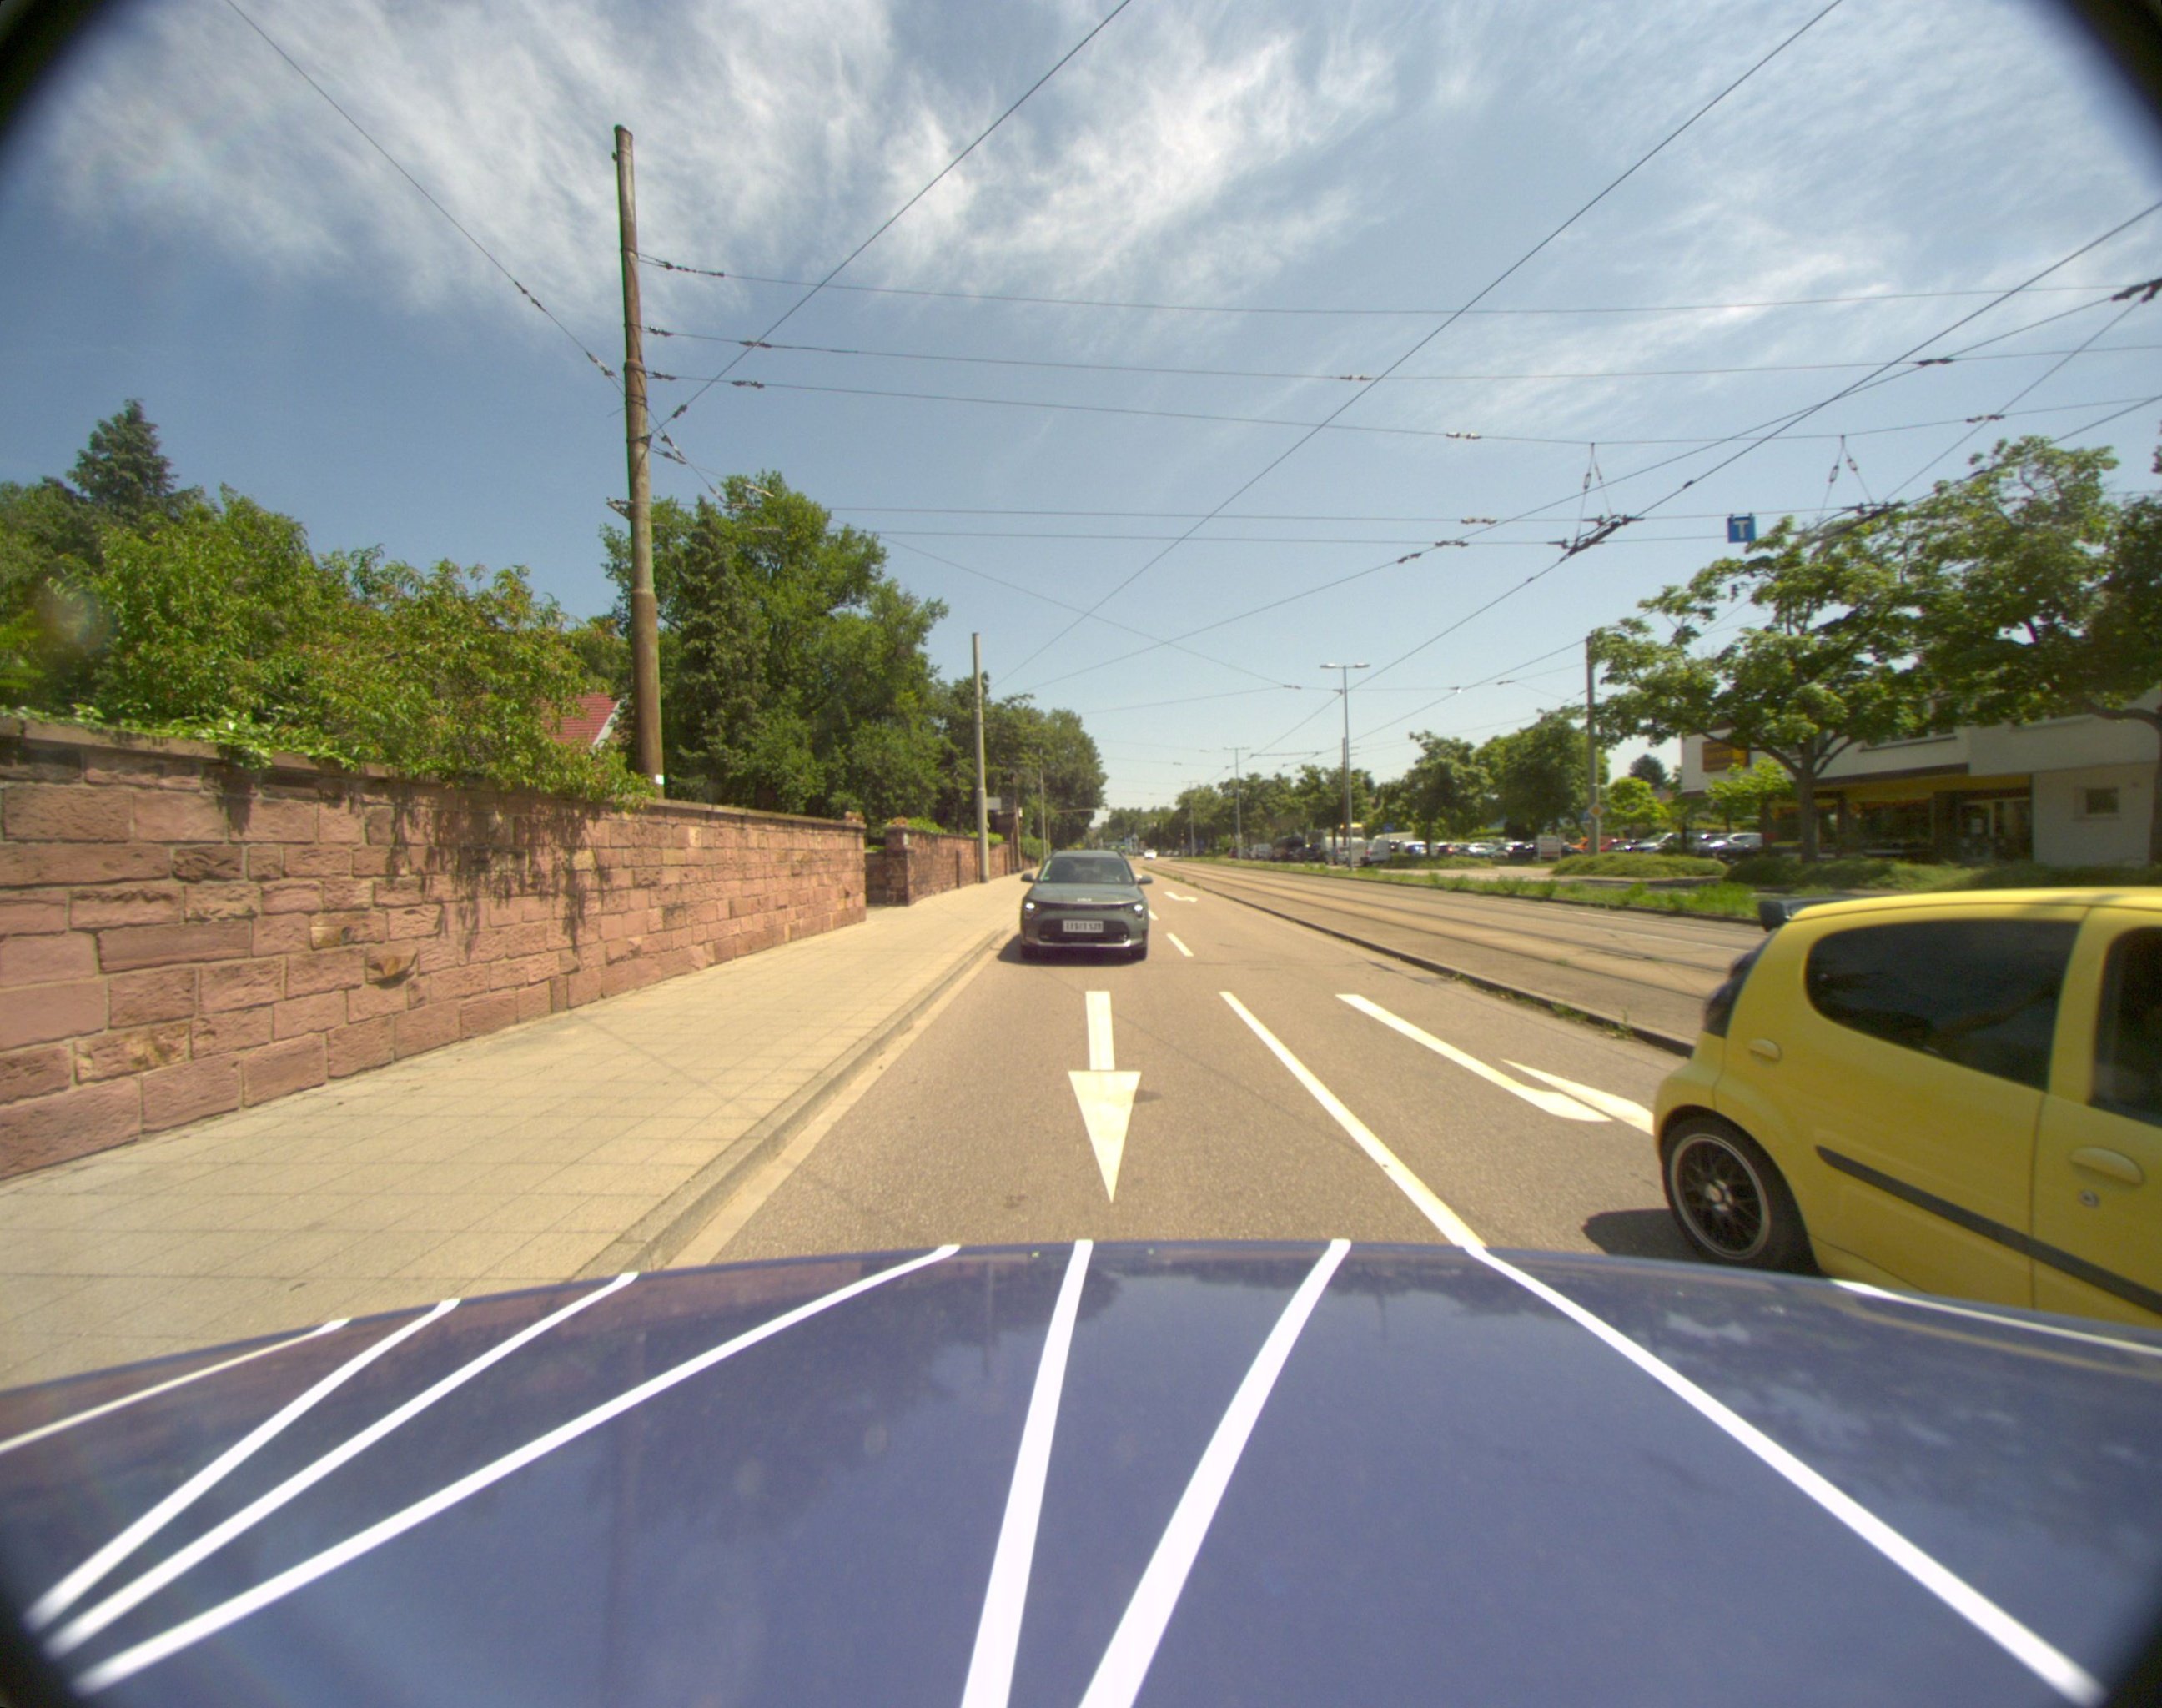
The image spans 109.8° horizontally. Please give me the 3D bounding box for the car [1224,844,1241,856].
[{"bbox_3d":[21.740,-0.529,108.861,1.681,1.693,3.823,-1,1,0],"label":"car"}]

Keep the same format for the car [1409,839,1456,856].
[{"bbox_3d":[31.244,-0.585,67.628,3.414,1.386,1.602,-1,1,-4],"label":"car"}]

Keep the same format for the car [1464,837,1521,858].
[{"bbox_3d":[31.037,-0.461,57.318,3.414,1.482,1.598,-1,1,-4],"label":"car"}]

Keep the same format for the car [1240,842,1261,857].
[{"bbox_3d":[21.724,-0.589,97.529,1.681,1.783,4.202,-1,1,0],"label":"car"}]

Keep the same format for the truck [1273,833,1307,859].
[{"bbox_3d":[21.333,-0.846,77.901,2.225,2.526,4.929,-1,1,2],"label":"truck"}]

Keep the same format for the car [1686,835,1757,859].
[{"bbox_3d":[43.324,-0.478,51.438,3.492,1.528,1.624,-1,1,-2],"label":"car"}]

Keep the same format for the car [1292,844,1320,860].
[{"bbox_3d":[21.218,-0.196,71.760,1.674,1.378,3.670,-1,1,3],"label":"car"}]

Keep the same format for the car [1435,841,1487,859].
[{"bbox_3d":[31.009,-0.351,62.004,3.414,1.386,1.602,-1,1,-4],"label":"car"}]

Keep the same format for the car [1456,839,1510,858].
[{"bbox_3d":[31.543,-0.464,59.734,3.414,1.386,1.602,-1,1,-4],"label":"car"}]

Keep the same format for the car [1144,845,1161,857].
[{"bbox_3d":[11.233,-0.483,118.497,1.996,1.652,4.004,-1,1,14],"label":"car"}]

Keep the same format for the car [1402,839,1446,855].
[{"bbox_3d":[31.809,-0.630,70.515,3.414,1.386,1.602,-1,1,-4],"label":"car"}]

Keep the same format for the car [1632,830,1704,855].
[{"bbox_3d":[43.812,-0.845,56.734,3.998,1.774,1.813,-1,1,-2],"label":"car"}]

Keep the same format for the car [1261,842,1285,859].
[{"bbox_3d":[21.806,-0.398,86.392,1.681,1.783,3.868,-1,1,0],"label":"car"}]

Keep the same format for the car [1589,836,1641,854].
[{"bbox_3d":[45.295,-0.755,64.497,3.355,1.450,1.506,-1,1,-2],"label":"car"}]

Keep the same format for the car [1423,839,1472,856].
[{"bbox_3d":[31.467,-0.548,65.218,3.414,1.386,1.602,-1,1,-4],"label":"car"}]

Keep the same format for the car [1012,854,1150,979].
[{"bbox_3d":[0.055,0.816,11.996,1.789,1.561,4.184,0,1,1],"label":"car"}]

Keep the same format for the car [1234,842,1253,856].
[{"bbox_3d":[21.818,-0.630,102.102,1.681,1.783,4.202,-1,0,0],"label":"car"}]

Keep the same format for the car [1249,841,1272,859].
[{"bbox_3d":[21.647,-0.489,91.598,1.681,1.963,4.509,-1,1,0],"label":"car"}]

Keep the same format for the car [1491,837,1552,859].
[{"bbox_3d":[31.778,-0.448,54.871,3.414,1.482,1.793,-1,1,-4],"label":"car"}]

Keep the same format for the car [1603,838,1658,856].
[{"bbox_3d":[44.671,-0.551,61.814,3.355,1.381,1.506,-1,1,-2],"label":"car"}]

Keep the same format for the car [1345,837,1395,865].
[{"bbox_3d":[20.974,-0.242,55.349,1.998,1.872,4.661,-1,1,1],"label":"car"}]

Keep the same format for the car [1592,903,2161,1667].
[{"bbox_3d":[3.012,0.957,1.432,1.620,1.413,3.655,1,1,0],"label":"car"}]

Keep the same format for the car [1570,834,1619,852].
[{"bbox_3d":[45.269,-0.951,67.011,3.355,1.552,1.506,-1,1,-2],"label":"car"}]

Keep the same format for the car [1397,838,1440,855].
[{"bbox_3d":[32.431,-0.723,73.063,3.414,1.497,1.602,-1,1,-4],"label":"car"}]

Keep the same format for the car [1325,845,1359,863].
[{"bbox_3d":[21.149,-0.041,61.717,1.674,1.378,3.569,-1,1,3],"label":"car"}]
